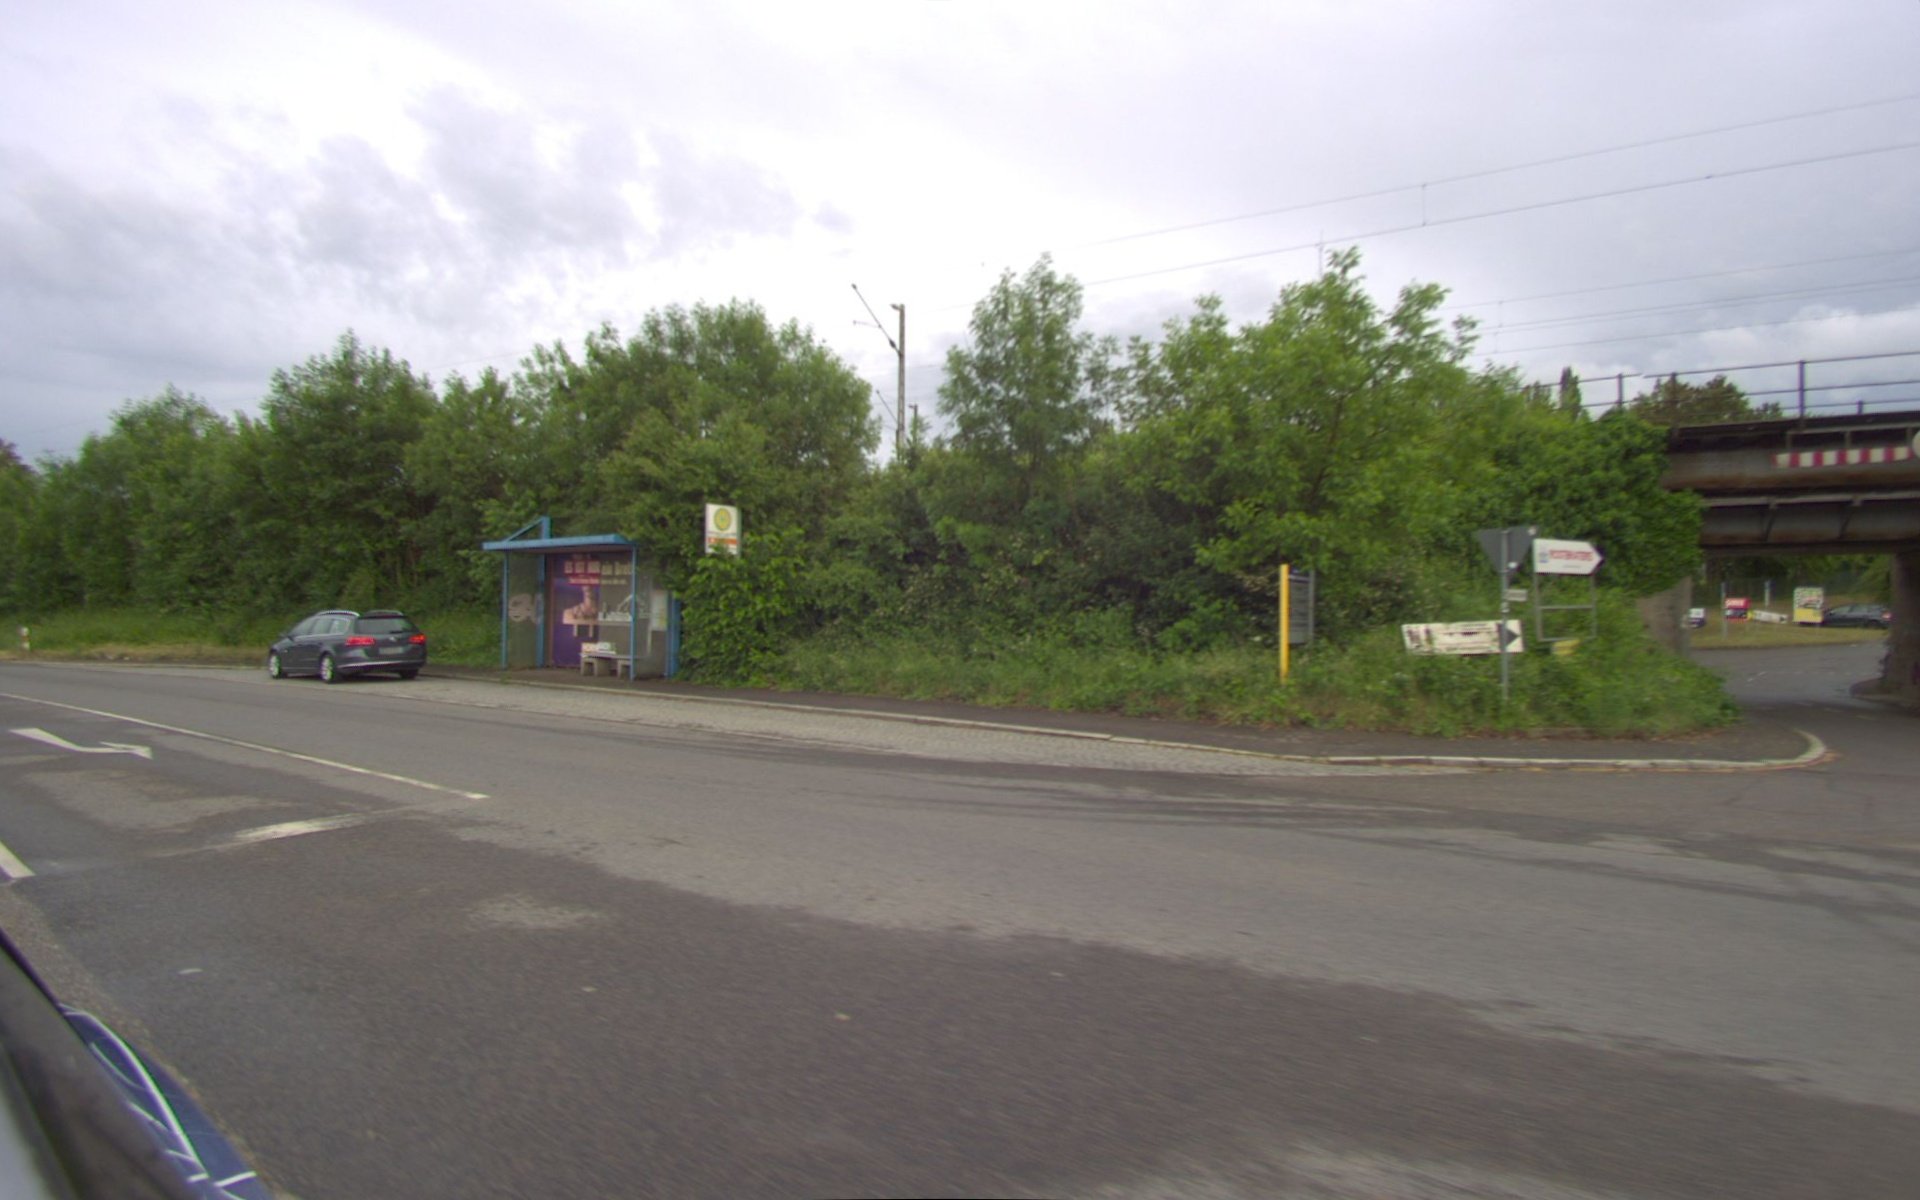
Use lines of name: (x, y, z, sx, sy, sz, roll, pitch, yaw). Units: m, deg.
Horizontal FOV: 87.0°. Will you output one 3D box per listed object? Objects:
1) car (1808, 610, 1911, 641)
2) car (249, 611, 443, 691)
car: (50.103, 1.421, 56.442, 1.876, 1.675, 3.928, 1, -2, -35)
car: (-13.482, 1.028, 22.126, 4.691, 1.485, 1.976, 0, 2, 36)
